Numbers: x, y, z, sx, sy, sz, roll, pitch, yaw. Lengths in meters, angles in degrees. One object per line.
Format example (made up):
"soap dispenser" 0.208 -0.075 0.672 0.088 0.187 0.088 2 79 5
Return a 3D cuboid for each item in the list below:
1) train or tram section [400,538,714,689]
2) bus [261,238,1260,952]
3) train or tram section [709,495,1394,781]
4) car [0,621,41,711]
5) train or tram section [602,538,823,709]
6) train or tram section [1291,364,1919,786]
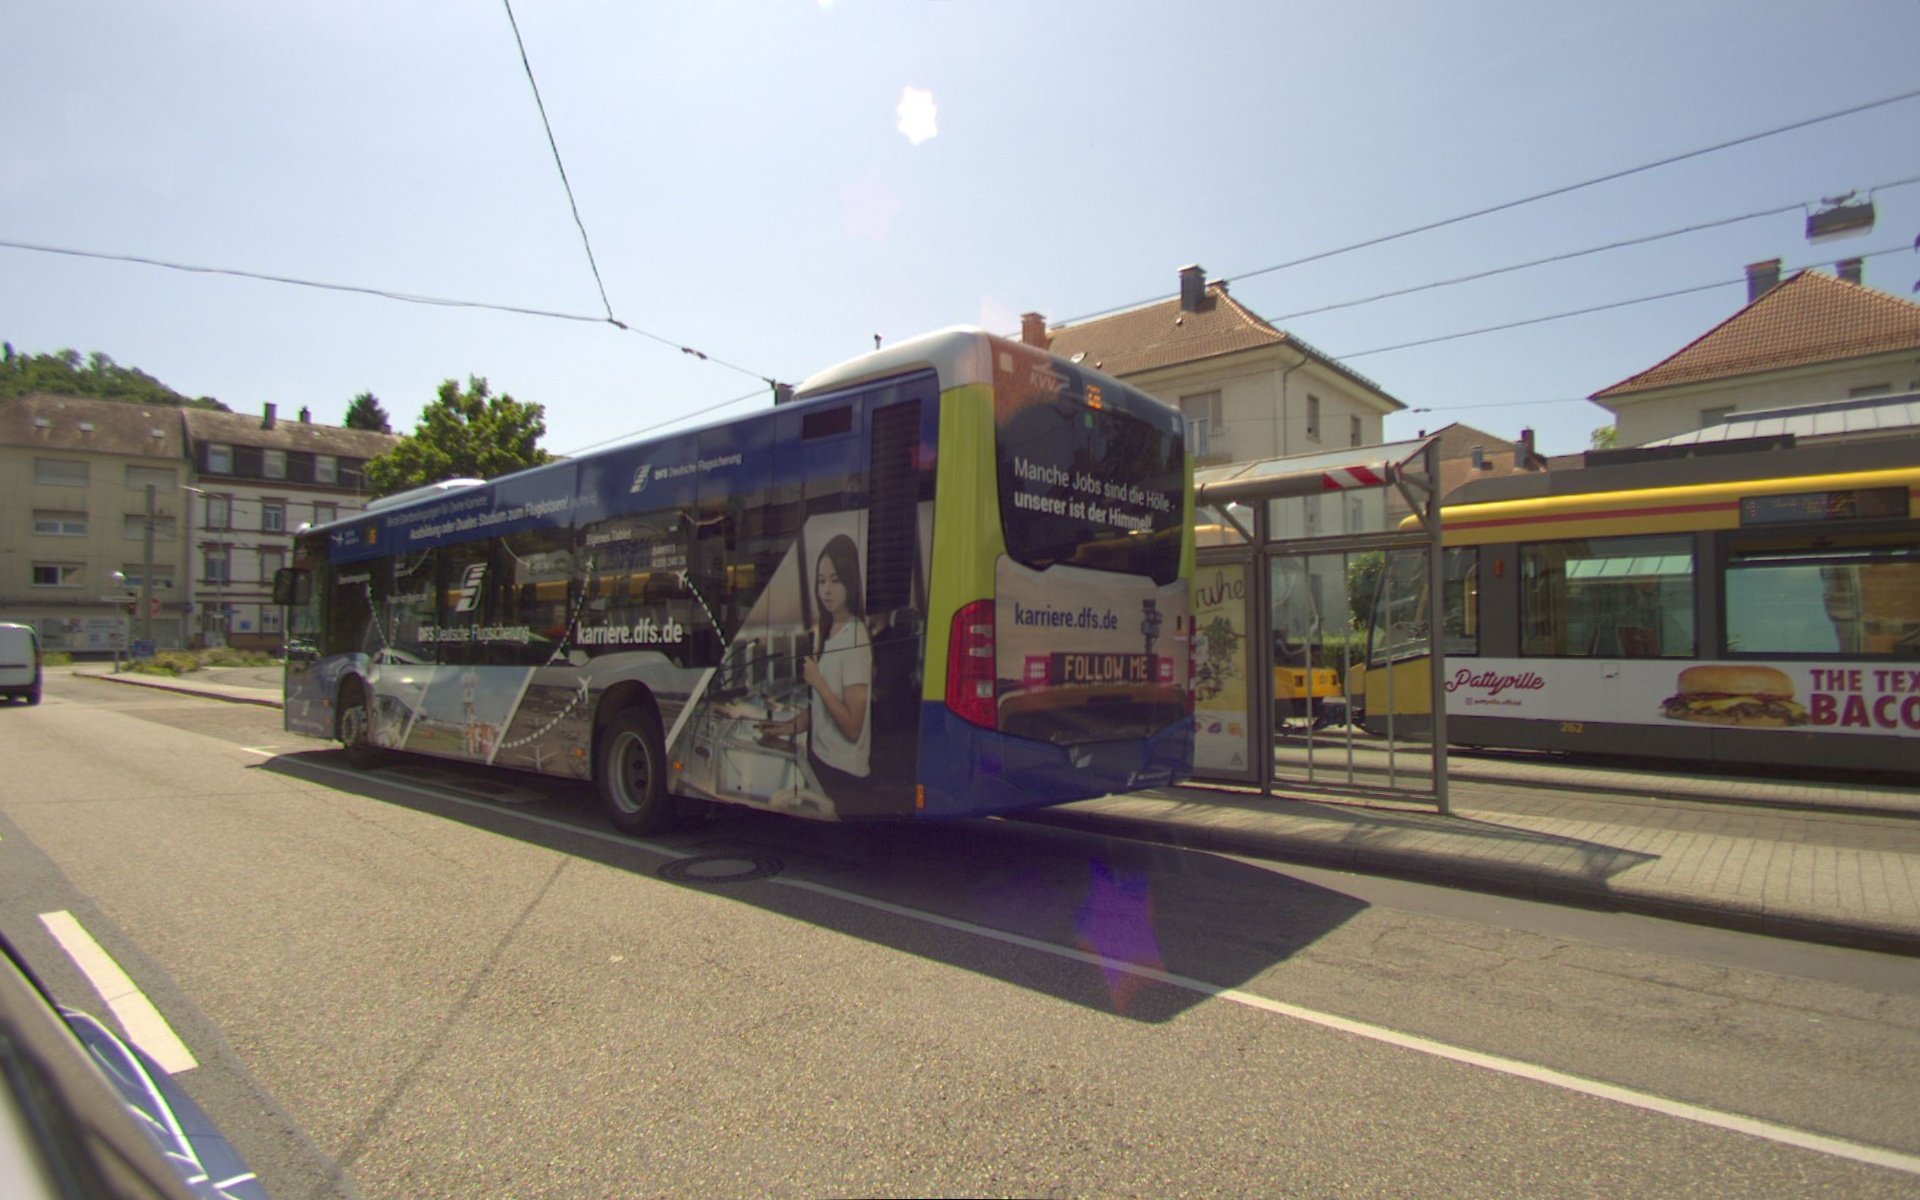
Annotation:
"train or tram section" -12.035 0.465 28.972 12.708 3.521 2.932 -2 -1 42
"bus" -3.376 0.014 9.950 12.033 3.453 2.878 -1 0 41
"train or tram section" 0.553 0.610 17.761 12.651 3.521 2.932 -2 -1 42
"car" -22.258 1.440 22.707 4.707 1.864 1.687 -1 0 38
"train or tram section" -5.748 0.579 23.369 4.415 3.522 2.932 -2 -3 41
"train or tram section" 11.583 -0.305 7.866 17.344 3.670 2.932 -2 -1 42
